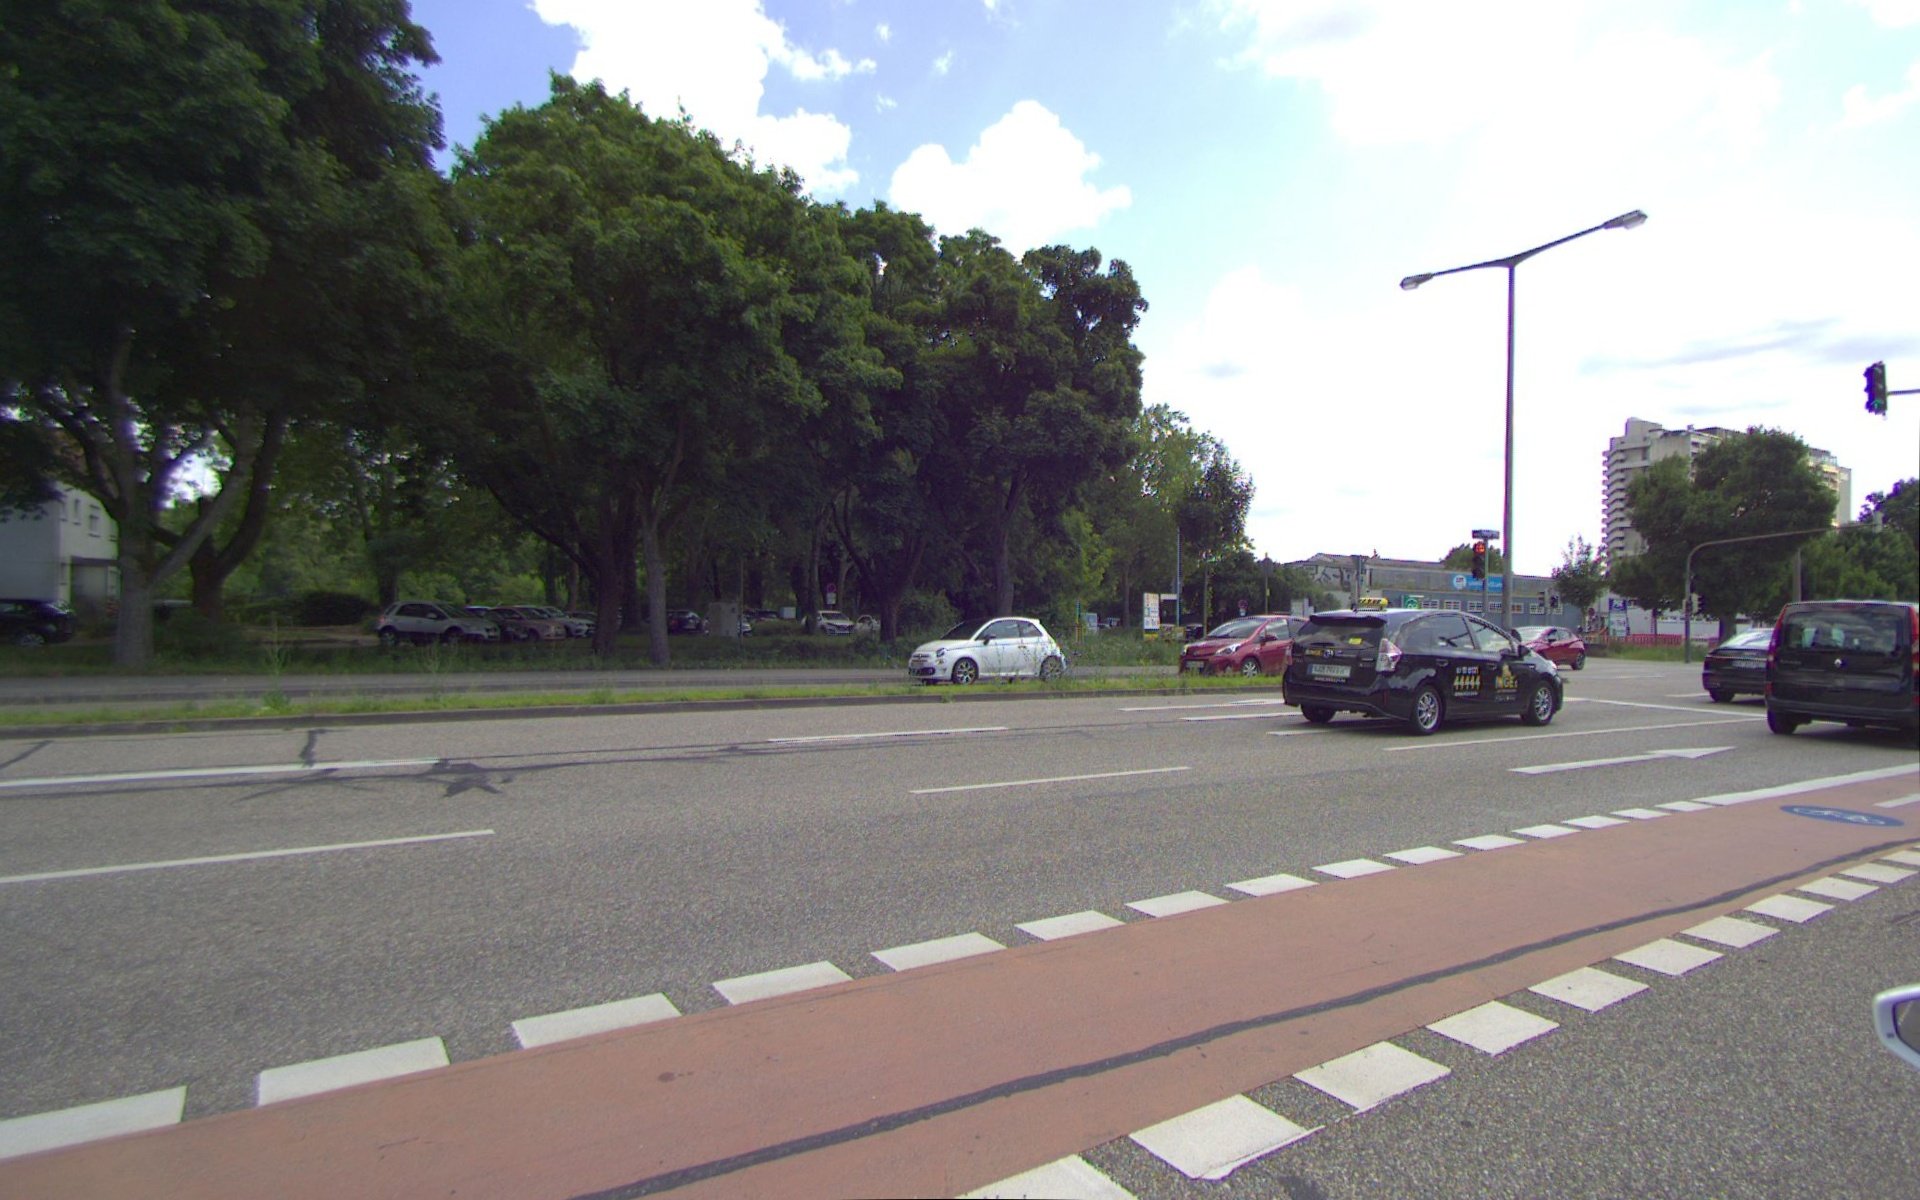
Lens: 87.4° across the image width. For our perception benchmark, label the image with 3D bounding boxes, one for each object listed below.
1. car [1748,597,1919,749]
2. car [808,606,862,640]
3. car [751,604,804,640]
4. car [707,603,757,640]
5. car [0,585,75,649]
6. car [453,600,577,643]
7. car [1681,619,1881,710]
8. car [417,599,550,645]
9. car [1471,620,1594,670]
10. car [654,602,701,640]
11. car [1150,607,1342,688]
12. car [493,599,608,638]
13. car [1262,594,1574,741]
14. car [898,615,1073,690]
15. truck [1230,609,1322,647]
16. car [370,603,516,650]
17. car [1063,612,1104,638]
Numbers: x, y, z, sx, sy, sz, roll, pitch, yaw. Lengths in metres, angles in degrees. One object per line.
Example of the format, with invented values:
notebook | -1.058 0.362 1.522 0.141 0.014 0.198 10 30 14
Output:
car | 12.715 0.927 13.817 3.866 1.801 1.750 2 0 -32
car | -6.704 1.224 53.565 2.044 1.748 4.111 1 -1 -19
car | -9.370 1.102 51.273 2.014 1.748 4.559 1 -1 -19
car | -11.497 1.067 50.424 1.793 1.732 4.106 1 -1 -22
car | -26.258 0.414 26.497 4.331 1.679 1.790 2 0 -42
car | -17.441 0.856 39.479 3.942 1.608 2.001 -1 -1 6
car | 15.759 1.180 19.250 3.957 1.524 1.853 2 0 -33
car | -17.515 0.794 37.045 3.941 1.608 2.001 1 -1 6
car | 19.337 1.507 33.907 3.954 1.532 1.878 2 0 -31
car | -13.740 0.991 48.726 1.793 1.750 4.106 1 -1 -22
car | 6.354 1.012 22.240 3.956 1.639 1.982 1 -1 -33
car | -17.076 0.776 41.961 3.941 1.565 2.001 1 -1 6
car | 6.243 0.837 13.551 4.293 1.690 1.775 2 0 -33
car | 0.587 1.121 22.002 3.556 1.464 1.602 2 0 -34
truck | 21.651 1.911 69.258 2.987 2.472 6.970 1 -1 -12
car | -17.656 0.895 34.412 3.941 1.503 2.001 1 -1 6
car | 9.111 1.818 74.215 1.904 1.817 3.611 2 0 -13
